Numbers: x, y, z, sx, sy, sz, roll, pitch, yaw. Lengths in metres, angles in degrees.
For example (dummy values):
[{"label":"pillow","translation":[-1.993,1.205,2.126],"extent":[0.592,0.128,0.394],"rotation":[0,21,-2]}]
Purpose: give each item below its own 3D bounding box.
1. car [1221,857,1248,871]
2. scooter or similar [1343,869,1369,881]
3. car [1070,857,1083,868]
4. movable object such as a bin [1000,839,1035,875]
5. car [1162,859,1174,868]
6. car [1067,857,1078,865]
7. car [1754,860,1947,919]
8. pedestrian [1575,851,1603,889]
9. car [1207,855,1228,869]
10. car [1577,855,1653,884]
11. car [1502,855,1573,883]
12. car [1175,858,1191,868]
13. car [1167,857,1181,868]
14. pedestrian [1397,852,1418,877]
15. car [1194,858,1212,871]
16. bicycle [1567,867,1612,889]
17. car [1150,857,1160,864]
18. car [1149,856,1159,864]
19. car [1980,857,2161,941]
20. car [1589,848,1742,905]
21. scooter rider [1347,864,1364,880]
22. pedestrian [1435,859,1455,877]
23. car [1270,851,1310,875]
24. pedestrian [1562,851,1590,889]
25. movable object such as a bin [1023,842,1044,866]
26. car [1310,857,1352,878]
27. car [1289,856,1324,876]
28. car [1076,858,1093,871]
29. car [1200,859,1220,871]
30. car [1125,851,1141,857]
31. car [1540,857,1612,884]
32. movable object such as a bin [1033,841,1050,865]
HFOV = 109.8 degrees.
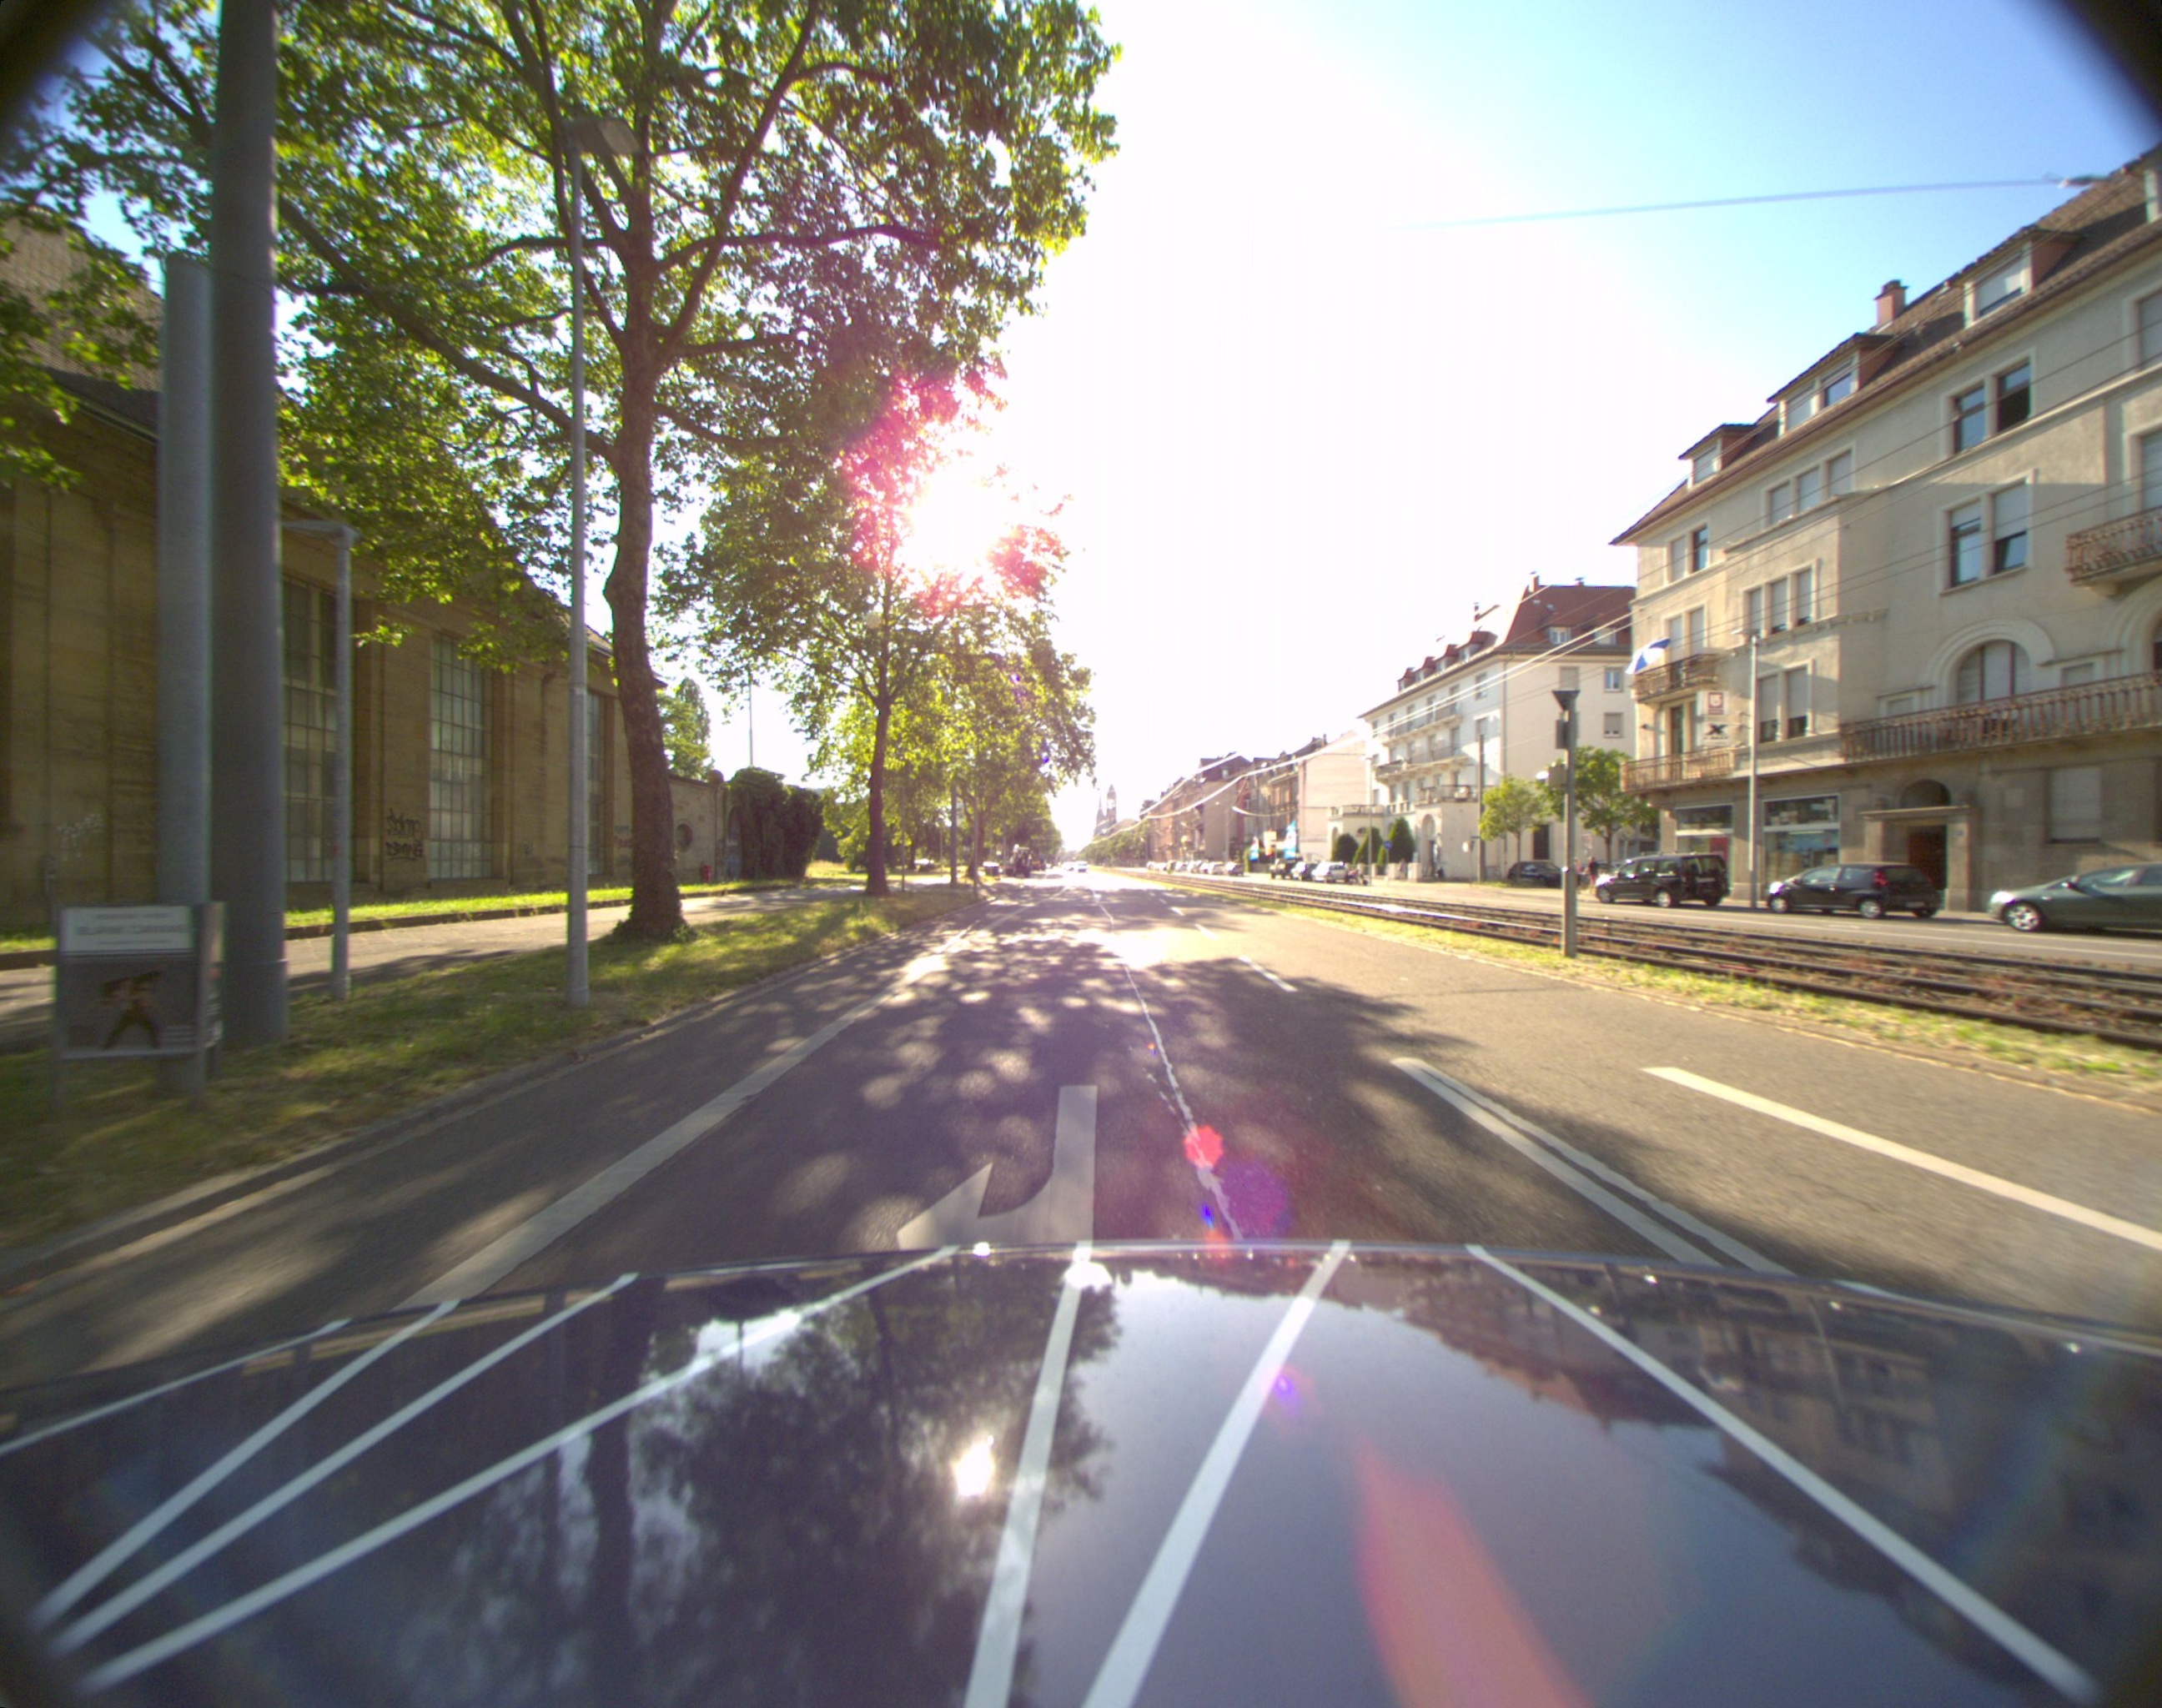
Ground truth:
[{"label":"car","translation":[18.067,1.206,89.679],"extent":[1.926,1.452,4.840],"rotation":[-5,0,-4]},{"label":"scooter or similar","translation":[18.696,1.401,51.660],"extent":[1.565,0.766,0.810],"rotation":[0,0,29]},{"label":"car","translation":[-0.678,1.297,114.768],"extent":[1.799,1.501,3.999],"rotation":[-2,0,-2]},{"label":"movable object such as a bin","translation":[-5.987,0.325,72.806],"extent":[2.751,3.127,7.218],"rotation":[3,0,-1]},{"label":"car","translation":[16.062,1.756,140.623],"extent":[1.664,1.437,3.980],"rotation":[-2,0,-2]},{"label":"car","translation":[-1.610,1.288,141.886],"extent":[1.799,1.501,3.999],"rotation":[-2,0,-2]},{"label":"car","translation":[21.023,0.906,20.967],"extent":[1.632,1.383,3.508],"rotation":[-3,0,-3]},{"label":"pedestrian","translation":[23.104,0.700,34.535],"extent":[0.591,1.687,0.856],"rotation":[-2,1,-15]},{"label":"car","translation":[17.762,1.059,98.998],"extent":[1.925,1.684,4.842],"rotation":[-2,0,0]},{"label":"car","translation":[33.624,0.920,47.990],"extent":[1.799,1.649,3.998],"rotation":[0,1,-2]},{"label":"car","translation":[28.714,0.915,47.980],"extent":[1.799,1.631,4.260],"rotation":[0,1,-2]},{"label":"car","translation":[17.332,1.501,129.005],"extent":[1.926,1.529,4.626],"rotation":[-1,0,-2]},{"label":"car","translation":[16.508,1.513,135.250],"extent":[1.664,1.797,4.727],"rotation":[-2,0,-3]},{"label":"pedestrian","translation":[23.080,0.728,53.750],"extent":[0.995,1.767,0.934],"rotation":[-2,1,-16]},{"label":"car","translation":[17.759,1.502,110.522],"extent":[1.925,1.770,4.498],"rotation":[-2,0,1]},{"label":"bicycle","translation":[25.911,1.211,38.771],"extent":[0.685,1.010,2.413],"rotation":[-2,0,0]},{"label":"car","translation":[15.666,1.464,161.515],"extent":[1.664,1.437,3.764],"rotation":[-2,0,-2]},{"label":"car","translation":[15.874,1.336,166.134],"extent":[1.799,1.633,4.630],"rotation":[-2,0,0]},{"label":"car","translation":[21.022,0.849,14.943],"extent":[1.639,1.460,4.158],"rotation":[-3,0,-2]},{"label":"car","translation":[20.475,0.754,26.900],"extent":[1.867,1.776,4.400],"rotation":[-2,0,-3]},{"label":"scooter rider","translation":[18.660,1.210,51.677],"extent":[0.976,1.082,0.810],"rotation":[1,0,29]},{"label":"pedestrian","translation":[25.302,0.963,52.844],"extent":[0.879,1.180,0.894],"rotation":[-2,1,-10]},{"label":"car","translation":[19.159,0.789,70.056],"extent":[2.082,1.998,5.591],"rotation":[-2,0,0]},{"label":"pedestrian","translation":[22.417,0.726,34.411],"extent":[0.591,1.687,0.856],"rotation":[-2,1,-15]},{"label":"movable object such as a bin","translation":[-8.218,0.039,132.232],"extent":[3.348,3.953,7.595],"rotation":[3,0,-4]},{"label":"car","translation":[19.195,1.023,58.468],"extent":[1.799,1.501,3.999],"rotation":[-2,1,-1]},{"label":"car","translation":[18.900,0.968,63.842],"extent":[1.639,1.498,4.158],"rotation":[-2,1,0]},{"label":"car","translation":[0.390,1.218,90.911],"extent":[1.799,1.501,3.999],"rotation":[-2,0,-2]},{"label":"car","translation":[17.795,1.505,104.790],"extent":[1.925,1.551,4.843],"rotation":[-3,-1,0]},{"label":"car","translation":[14.445,-0.114,211.212],"extent":[3.991,1.501,1.802],"rotation":[-2,1,19]},{"label":"car","translation":[31.107,1.011,47.914],"extent":[1.799,1.502,3.998],"rotation":[0,1,-2]},{"label":"movable object such as a bin","translation":[-7.966,-0.110,152.168],"extent":[2.923,4.583,7.595],"rotation":[3,0,-4]}]
